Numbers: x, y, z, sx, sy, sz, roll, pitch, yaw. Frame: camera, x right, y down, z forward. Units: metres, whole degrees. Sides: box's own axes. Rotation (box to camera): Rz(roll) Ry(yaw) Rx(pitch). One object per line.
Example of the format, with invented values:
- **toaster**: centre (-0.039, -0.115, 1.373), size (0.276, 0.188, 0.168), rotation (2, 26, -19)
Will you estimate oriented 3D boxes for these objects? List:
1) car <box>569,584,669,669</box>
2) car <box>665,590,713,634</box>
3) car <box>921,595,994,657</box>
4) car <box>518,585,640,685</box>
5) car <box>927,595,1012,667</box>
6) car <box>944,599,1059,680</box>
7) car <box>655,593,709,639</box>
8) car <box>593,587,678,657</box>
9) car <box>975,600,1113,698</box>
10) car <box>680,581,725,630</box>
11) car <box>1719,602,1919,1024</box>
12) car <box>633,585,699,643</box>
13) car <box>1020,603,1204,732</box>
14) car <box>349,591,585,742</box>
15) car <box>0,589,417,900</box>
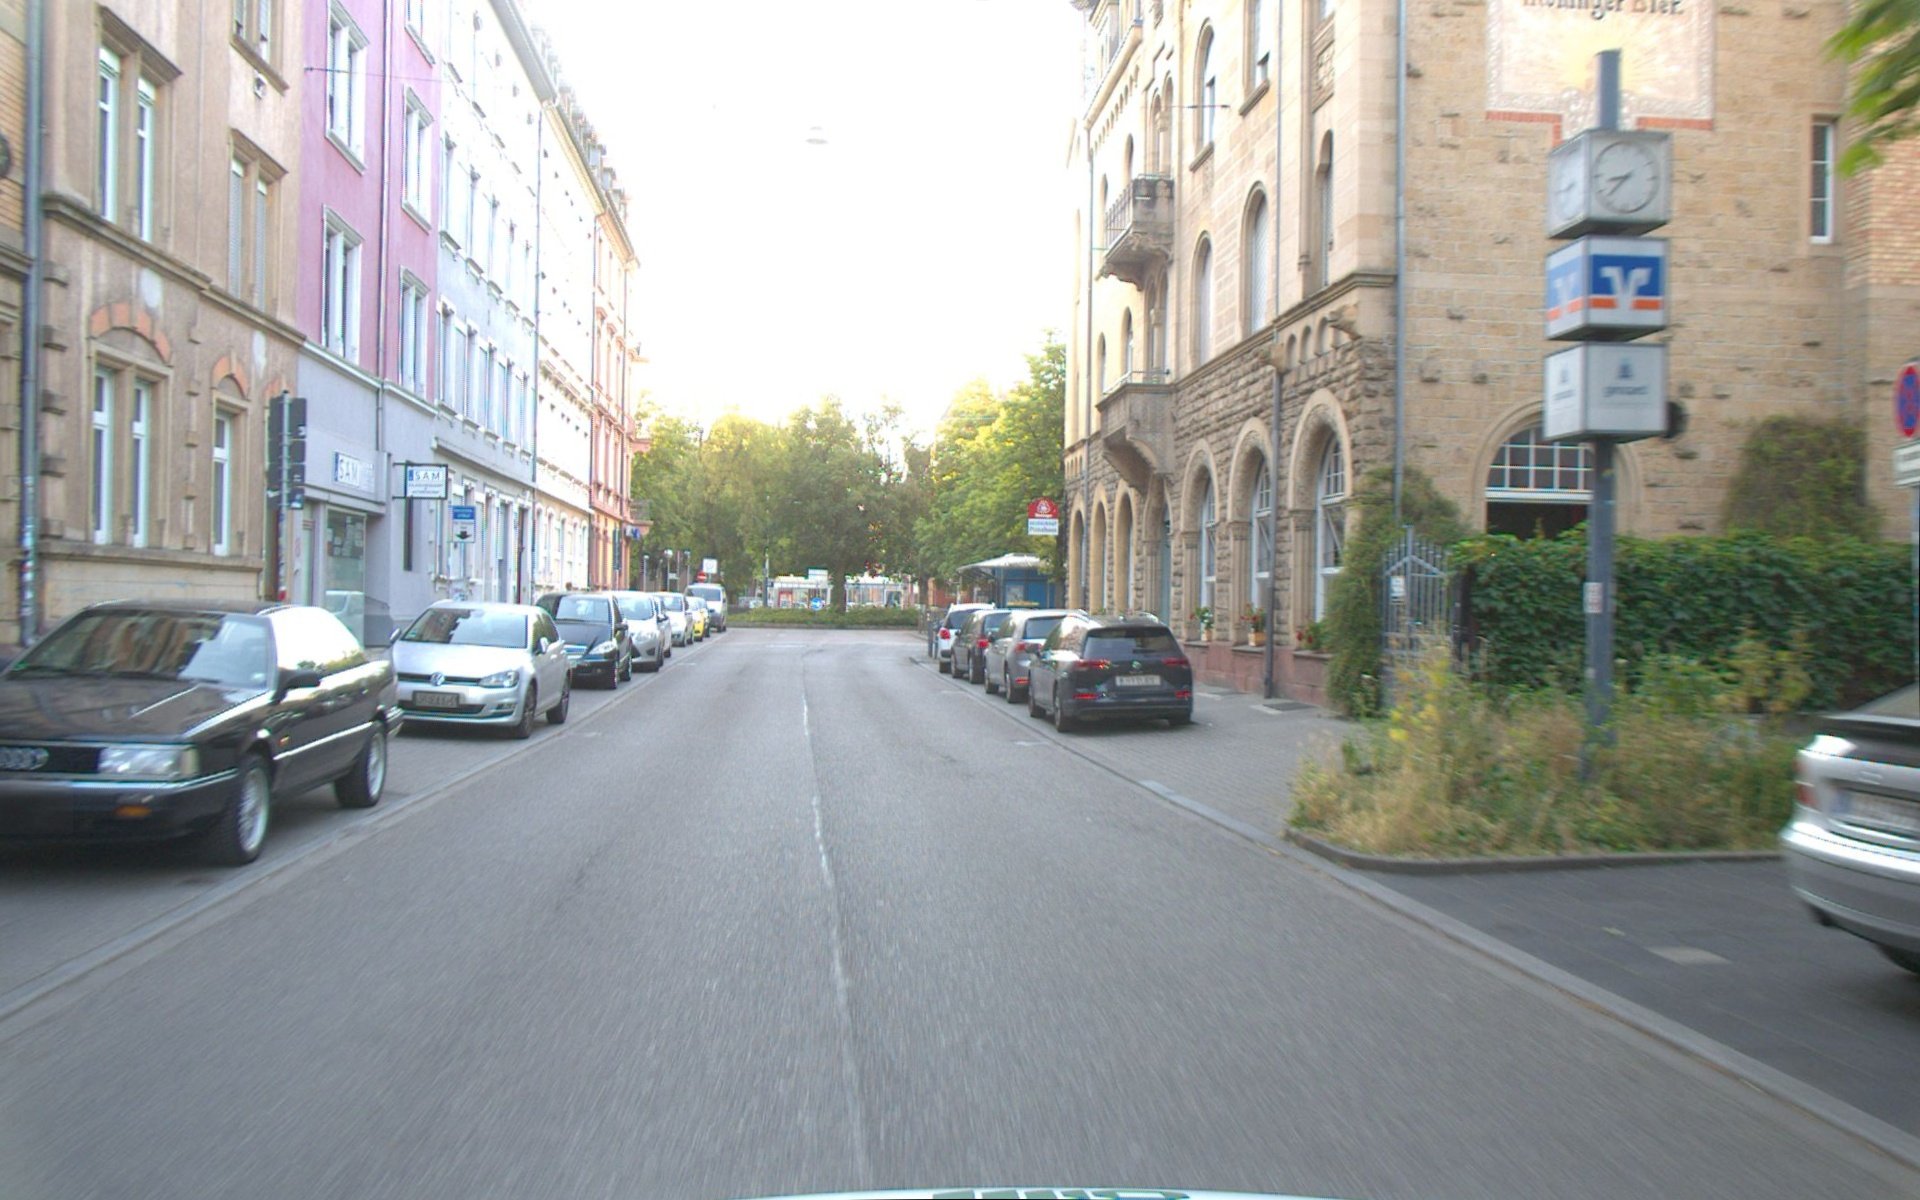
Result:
- **car**: centre (-7.188, 0.540, 35.174), size (1.810, 1.688, 4.244), rotation (1, 0, -9)
- **car**: centre (-10.324, 0.437, 63.272), size (1.667, 1.579, 4.014), rotation (3, 0, -8)
- **car**: centre (-0.115, 0.660, 44.656), size (1.643, 1.527, 4.014), rotation (-2, 0, -4)
- **car**: centre (-6.611, 0.574, 29.026), size (1.605, 1.593, 3.776), rotation (2, 0, -7)
- **car**: centre (0.183, 0.685, 38.795), size (1.643, 1.527, 3.897), rotation (-2, 0, -4)
- **car**: centre (0.787, 0.755, 33.808), size (1.645, 1.481, 3.792), rotation (-2, 0, -9)
- **car**: centre (-9.616, 0.535, 57.394), size (1.667, 1.451, 4.014), rotation (3, 0, -8)
- **car**: centre (-7.936, 0.521, 40.644), size (1.666, 1.579, 3.564), rotation (3, 0, -6)
- **car**: centre (1.358, 0.769, 28.225), size (1.644, 1.481, 4.224), rotation (-2, 0, -6)
- **car**: centre (-11.137, 0.226, 71.484), size (1.778, 2.011, 4.176), rotation (3, 0, -10)
- **car**: centre (5.410, 0.722, 6.476), size (4.005, 1.478, 1.881), rotation (-2, 0, -4)
- **car**: centre (-9.046, 0.416, 51.168), size (1.666, 1.649, 4.017), rotation (3, 0, -6)
- **car**: centre (1.926, 0.818, 22.268), size (1.644, 1.454, 4.473), rotation (-3, 0, -5)
- **car**: centre (-5.677, 0.704, 19.562), size (1.799, 1.483, 4.201), rotation (4, 0, -5)
- **car**: centre (-4.795, 0.702, 10.226), size (1.703, 1.443, 4.772), rotation (3, -1, -6)
